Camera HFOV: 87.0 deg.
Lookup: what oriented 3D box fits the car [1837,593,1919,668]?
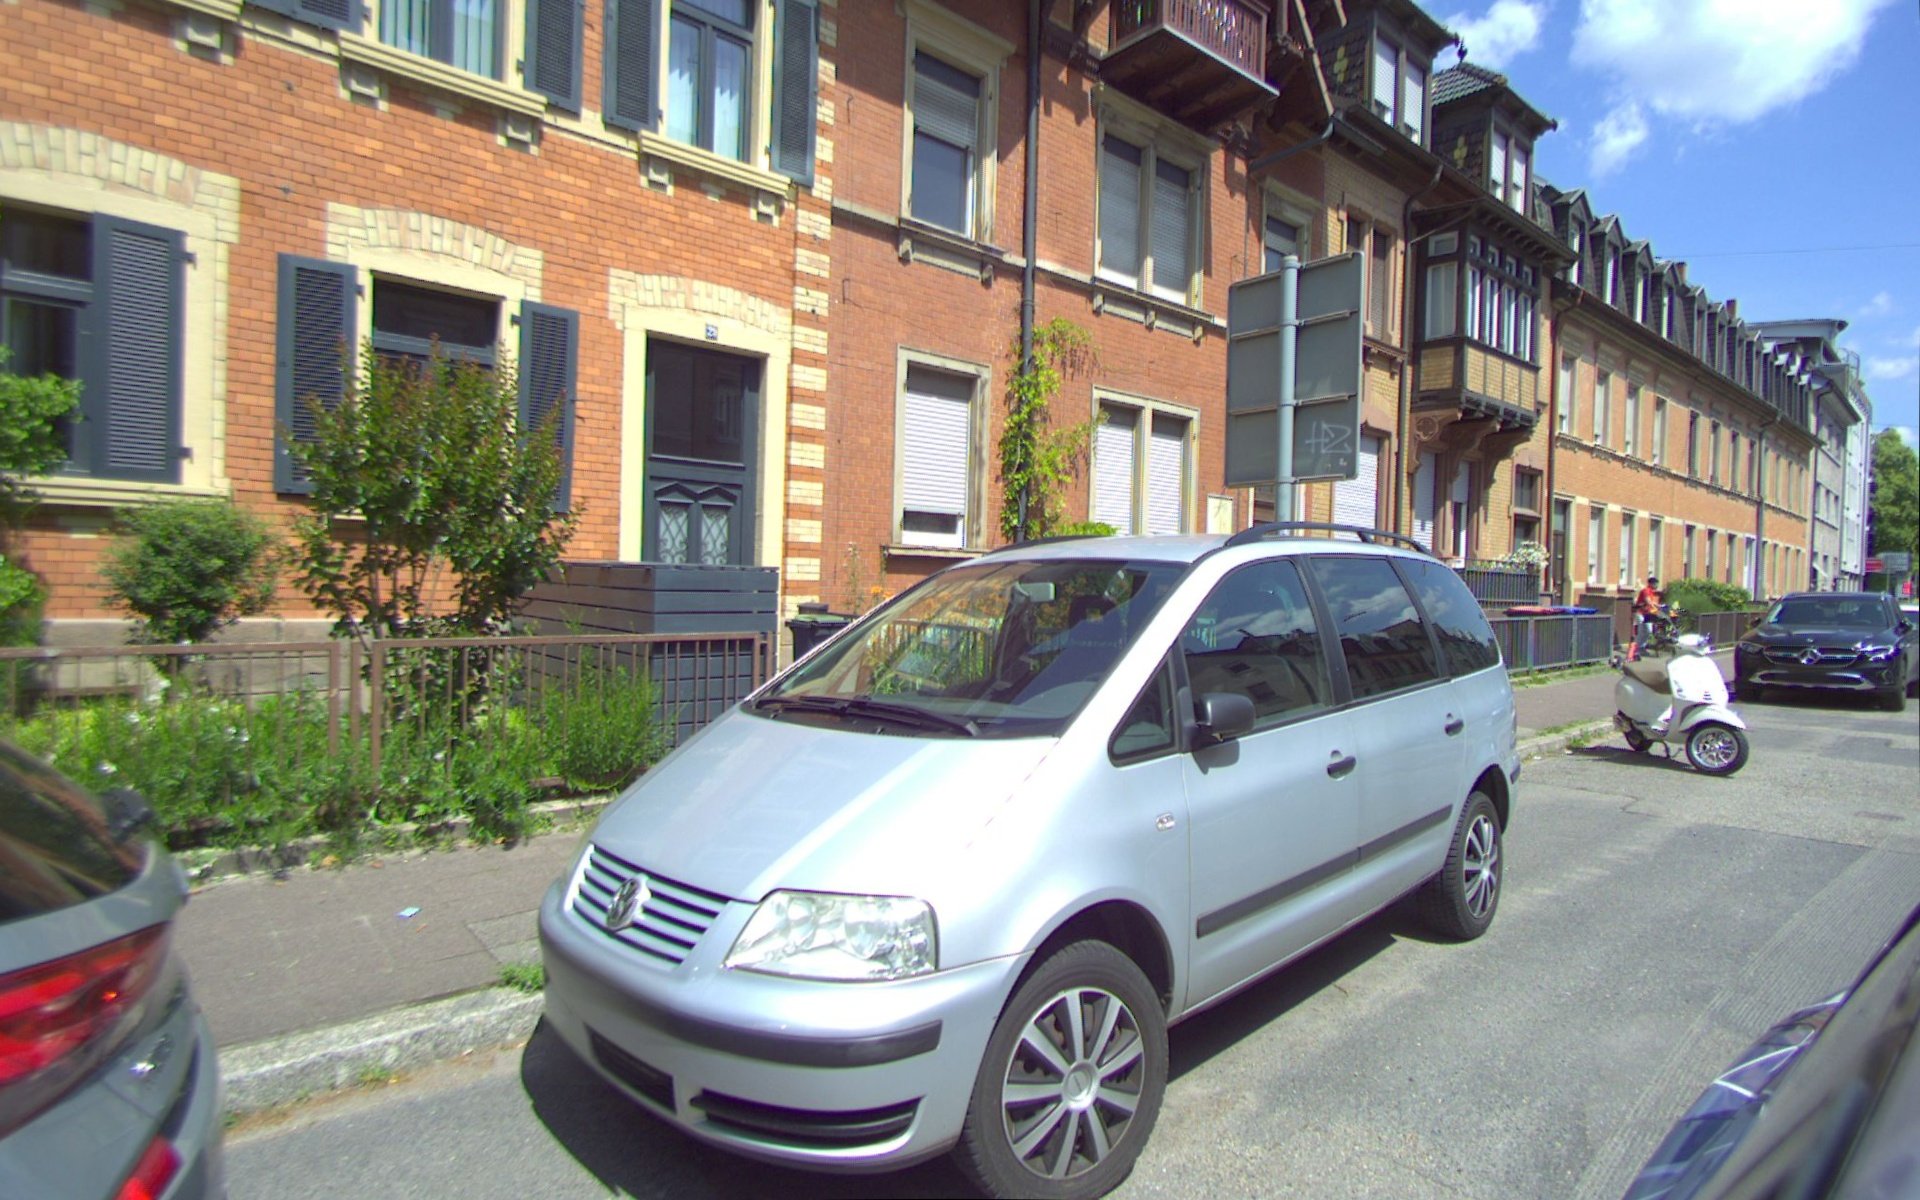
[{"bbox_3d":[20.287,0.593,21.667,4.511,1.432,1.719,0,3,-42],"label":"car"}]

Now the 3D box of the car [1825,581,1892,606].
[{"bbox_3d":[84.522,-0.603,95.192,2.071,2.305,4.605,0,0,-44],"label":"car"}]

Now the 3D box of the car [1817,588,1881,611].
[{"bbox_3d":[70.066,-0.068,79.835,3.760,1.688,1.639,3,2,41],"label":"car"}]

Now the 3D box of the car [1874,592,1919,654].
[{"bbox_3d":[24.450,0.546,25.787,1.647,1.432,4.434,1,2,41],"label":"car"}]

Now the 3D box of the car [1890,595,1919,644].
[{"bbox_3d":[30.022,0.591,31.275,1.701,1.398,4.099,2,2,45],"label":"car"}]

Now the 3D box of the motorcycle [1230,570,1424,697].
[{"bbox_3d":[4.708,0.372,13.116,0.921,1.425,2.133,0,4,-42],"label":"motorcycle"}]

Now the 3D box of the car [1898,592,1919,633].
[{"bbox_3d":[37.410,0.473,38.791,1.851,1.481,4.486,1,2,40],"label":"car"}]

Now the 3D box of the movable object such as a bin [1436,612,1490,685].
[{"bbox_3d":[6.833,0.646,13.743,0.517,0.953,0.482,0,1,-41],"label":"movable object such as a bin"}]

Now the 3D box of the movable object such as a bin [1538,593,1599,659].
[{"bbox_3d":[10.653,0.441,17.723,0.530,1.102,0.788,0,2,-45],"label":"movable object such as a bin"}]

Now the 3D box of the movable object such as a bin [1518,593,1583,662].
[{"bbox_3d":[9.858,0.442,16.902,0.545,1.102,0.788,0,2,-45],"label":"movable object such as a bin"}]

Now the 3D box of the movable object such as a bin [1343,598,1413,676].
[{"bbox_3d":[6.044,0.516,14.632,0.735,1.068,0.660,0,2,-41],"label":"movable object such as a bin"}]

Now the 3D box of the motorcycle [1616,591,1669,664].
[{"bbox_3d":[12.324,0.484,18.264,1.335,1.252,0.440,0,3,-43],"label":"motorcycle"}]

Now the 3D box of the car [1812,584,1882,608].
[{"bbox_3d":[68.292,-0.336,77.946,3.988,1.772,1.984,2,2,45],"label":"car"}]

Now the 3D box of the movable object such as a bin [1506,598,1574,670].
[{"bbox_3d":[9.457,0.539,16.504,0.675,1.102,0.788,0,2,-45],"label":"movable object such as a bin"}]

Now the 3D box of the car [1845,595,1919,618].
[{"bbox_3d":[58.727,0.403,63.623,4.581,1.382,1.969,2,1,44],"label":"car"}]

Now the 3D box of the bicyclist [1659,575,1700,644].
[{"bbox_3d":[15.785,0.196,22.209,0.777,1.487,0.533,0,2,-42],"label":"bicyclist"}]

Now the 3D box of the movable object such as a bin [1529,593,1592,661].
[{"bbox_3d":[10.263,0.453,17.311,0.535,1.102,0.788,0,2,-45],"label":"movable object such as a bin"}]

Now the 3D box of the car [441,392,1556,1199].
[{"bbox_3d":[0.674,0.519,4.024,1.861,1.770,4.543,0,0,45],"label":"car"}]

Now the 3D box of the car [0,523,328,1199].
[{"bbox_3d":[-2.925,0.674,0.431,4.238,1.506,1.862,0,0,-44],"label":"car"}]

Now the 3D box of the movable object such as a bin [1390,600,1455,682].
[{"bbox_3d":[6.466,0.555,14.149,0.714,1.089,0.558,0,1,-41],"label":"movable object such as a bin"}]

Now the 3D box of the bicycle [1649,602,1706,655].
[{"bbox_3d":[15.747,0.597,22.197,1.850,1.079,0.594,0,2,-42],"label":"bicycle"}]

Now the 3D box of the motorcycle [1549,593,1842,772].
[{"bbox_3d":[6.509,0.659,9.153,1.091,1.403,1.998,0,1,-4],"label":"motorcycle"}]

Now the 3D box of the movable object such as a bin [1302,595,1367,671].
[{"bbox_3d":[5.601,0.477,15.152,0.748,1.090,0.610,0,2,-41],"label":"movable object such as a bin"}]

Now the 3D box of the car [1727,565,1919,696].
[{"bbox_3d":[13.582,0.362,15.580,4.546,1.682,1.997,0,3,-42],"label":"car"}]
